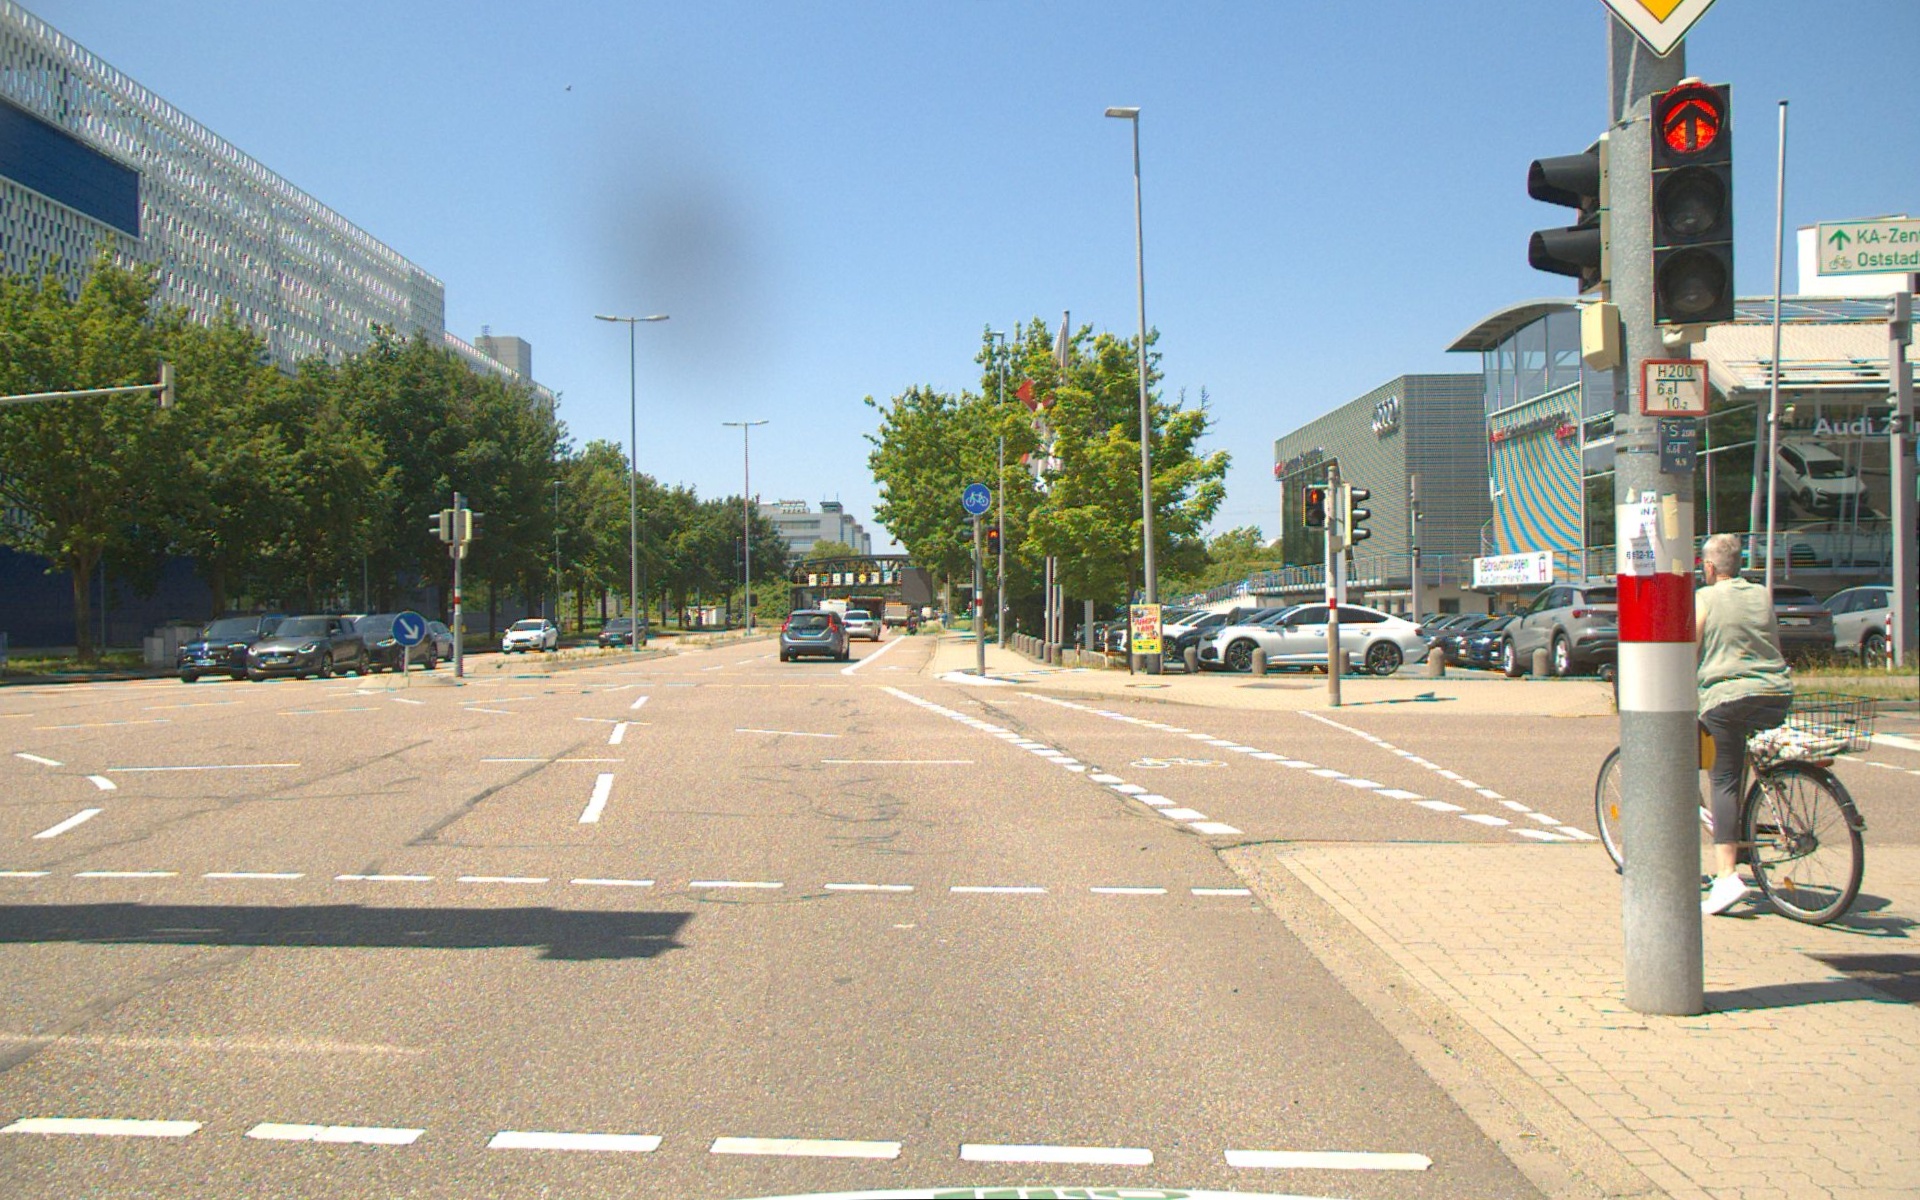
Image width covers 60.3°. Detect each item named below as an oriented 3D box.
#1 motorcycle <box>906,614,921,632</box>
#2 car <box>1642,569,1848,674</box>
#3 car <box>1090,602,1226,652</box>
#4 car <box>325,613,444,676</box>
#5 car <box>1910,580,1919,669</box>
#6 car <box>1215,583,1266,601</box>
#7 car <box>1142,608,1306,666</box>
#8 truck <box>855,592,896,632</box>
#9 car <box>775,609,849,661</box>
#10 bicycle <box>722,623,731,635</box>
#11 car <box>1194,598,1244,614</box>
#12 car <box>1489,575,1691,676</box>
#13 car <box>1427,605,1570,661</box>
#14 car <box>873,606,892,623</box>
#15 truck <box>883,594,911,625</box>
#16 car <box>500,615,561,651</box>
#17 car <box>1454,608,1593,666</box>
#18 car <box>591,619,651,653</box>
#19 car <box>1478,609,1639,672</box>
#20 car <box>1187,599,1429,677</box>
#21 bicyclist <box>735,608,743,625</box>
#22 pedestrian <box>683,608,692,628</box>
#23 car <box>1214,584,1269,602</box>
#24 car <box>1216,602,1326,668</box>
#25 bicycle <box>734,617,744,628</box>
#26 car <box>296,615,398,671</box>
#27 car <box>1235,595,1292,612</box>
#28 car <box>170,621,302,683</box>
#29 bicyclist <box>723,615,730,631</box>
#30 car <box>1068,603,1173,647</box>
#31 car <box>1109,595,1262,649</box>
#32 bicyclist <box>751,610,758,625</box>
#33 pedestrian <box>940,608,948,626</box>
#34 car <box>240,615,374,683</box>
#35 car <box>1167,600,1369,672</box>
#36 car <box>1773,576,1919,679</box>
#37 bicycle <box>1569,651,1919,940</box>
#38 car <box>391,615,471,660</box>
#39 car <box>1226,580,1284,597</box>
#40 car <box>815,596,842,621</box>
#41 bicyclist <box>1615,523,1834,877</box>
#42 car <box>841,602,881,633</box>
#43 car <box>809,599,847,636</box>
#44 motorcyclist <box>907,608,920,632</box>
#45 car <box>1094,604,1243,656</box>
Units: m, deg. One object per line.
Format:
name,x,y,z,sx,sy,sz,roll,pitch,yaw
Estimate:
motorcycle,-3.000,1.493,105.867,0.703,1.124,1.825,1,-1,-10
car,13.647,0.402,29.036,1.806,1.683,3.999,-1,-1,2
car,6.210,0.849,52.203,4.017,1.429,1.868,2,-1,-1
car,-15.495,1.174,44.757,1.691,1.531,4.243,-3,-1,0
car,18.673,0.481,29.010,1.604,1.644,3.814,0,1,-5
car,21.236,-0.588,125.194,3.455,1.261,1.675,1,-1,-5
car,6.950,0.976,43.766,4.013,1.388,1.874,2,-1,-1
truck,-5.440,0.765,107.481,2.408,2.452,7.132,1,0,-1
car,-4.268,0.990,48.189,1.862,1.400,4.230,-1,0,-2
bicycle,-23.482,2.925,166.367,0.624,1.153,1.969,-1,-1,-3
car,22.284,0.539,142.244,3.909,1.335,1.795,-1,-1,-5
car,11.002,0.480,29.249,1.830,1.586,4.503,-2,-2,0
car,16.761,1.028,51.554,3.901,1.601,1.633,2,-1,-1
car,-9.631,1.762,205.161,1.952,2.049,4.001,-2,0,2
truck,-5.998,0.896,158.077,2.562,2.900,5.613,1,0,-1
car,-19.090,1.480,73.711,1.708,1.512,3.999,-2,-1,-1
car,16.803,1.095,49.456,3.573,1.608,1.642,2,-1,-1
car,-16.127,1.686,78.829,1.691,1.471,4.720,-3,-1,2
car,16.767,1.125,46.411,3.904,1.650,1.656,2,-1,-1
car,6.943,0.750,33.354,4.497,1.415,1.869,2,-1,1
bicyclist,-22.881,1.740,171.470,0.730,1.715,0.952,-1,-1,-1
pedestrian,-25.735,1.719,156.236,0.728,1.917,0.577,-1,-1,0
car,22.003,-0.539,129.521,3.909,1.335,1.795,1,-1,-5
car,7.411,0.818,39.790,1.824,1.444,4.663,2,-1,1
bicycle,-22.876,2.305,171.546,0.724,1.145,2.434,-1,0,0
car,-18.599,1.291,50.341,1.691,1.571,3.914,-2,-1,-1
car,21.370,0.235,116.662,3.652,1.150,1.682,1,-1,-5
car,-18.368,1.294,42.147,1.627,1.449,4.037,-2,-1,-1
bicyclist,-23.496,2.342,166.431,0.624,1.610,0.884,-1,-1,-3
car,5.830,0.906,60.339,3.607,1.479,1.833,2,-1,-1
car,6.298,0.614,46.565,4.016,1.372,1.868,2,-1,-1
bicyclist,-23.059,1.964,185.415,0.621,1.657,1.044,-3,-1,-2
pedestrian,-1.342,1.387,135.309,0.611,1.399,0.564,-1,-1,-3
car,-15.127,1.116,38.519,1.610,1.413,3.715,-3,-1,0
car,6.639,0.770,35.961,4.013,1.415,1.868,2,-1,-1
car,16.419,0.492,29.283,1.808,1.683,3.994,2,-1,-5
bicycle,3.720,0.866,8.036,0.616,1.153,1.892,0,1,-7
car,-18.710,1.325,58.681,1.616,1.512,3.914,-2,-1,-1
car,21.542,-0.835,120.803,3.862,1.232,1.715,0,-1,-5
car,-11.157,0.706,140.562,1.953,2.049,4.811,1,0,-1
bicyclist,3.717,0.468,8.092,0.616,1.634,0.824,1,-1,-8
car,-4.596,0.804,77.126,1.708,1.420,3.528,0,0,-1
car,-7.557,0.998,94.967,1.953,2.049,3.998,0,-1,-2
motorcyclist,-3.000,1.279,105.908,0.706,1.556,0.868,1,-1,-11
car,6.165,0.881,49.236,4.140,1.415,1.868,2,-1,-1
